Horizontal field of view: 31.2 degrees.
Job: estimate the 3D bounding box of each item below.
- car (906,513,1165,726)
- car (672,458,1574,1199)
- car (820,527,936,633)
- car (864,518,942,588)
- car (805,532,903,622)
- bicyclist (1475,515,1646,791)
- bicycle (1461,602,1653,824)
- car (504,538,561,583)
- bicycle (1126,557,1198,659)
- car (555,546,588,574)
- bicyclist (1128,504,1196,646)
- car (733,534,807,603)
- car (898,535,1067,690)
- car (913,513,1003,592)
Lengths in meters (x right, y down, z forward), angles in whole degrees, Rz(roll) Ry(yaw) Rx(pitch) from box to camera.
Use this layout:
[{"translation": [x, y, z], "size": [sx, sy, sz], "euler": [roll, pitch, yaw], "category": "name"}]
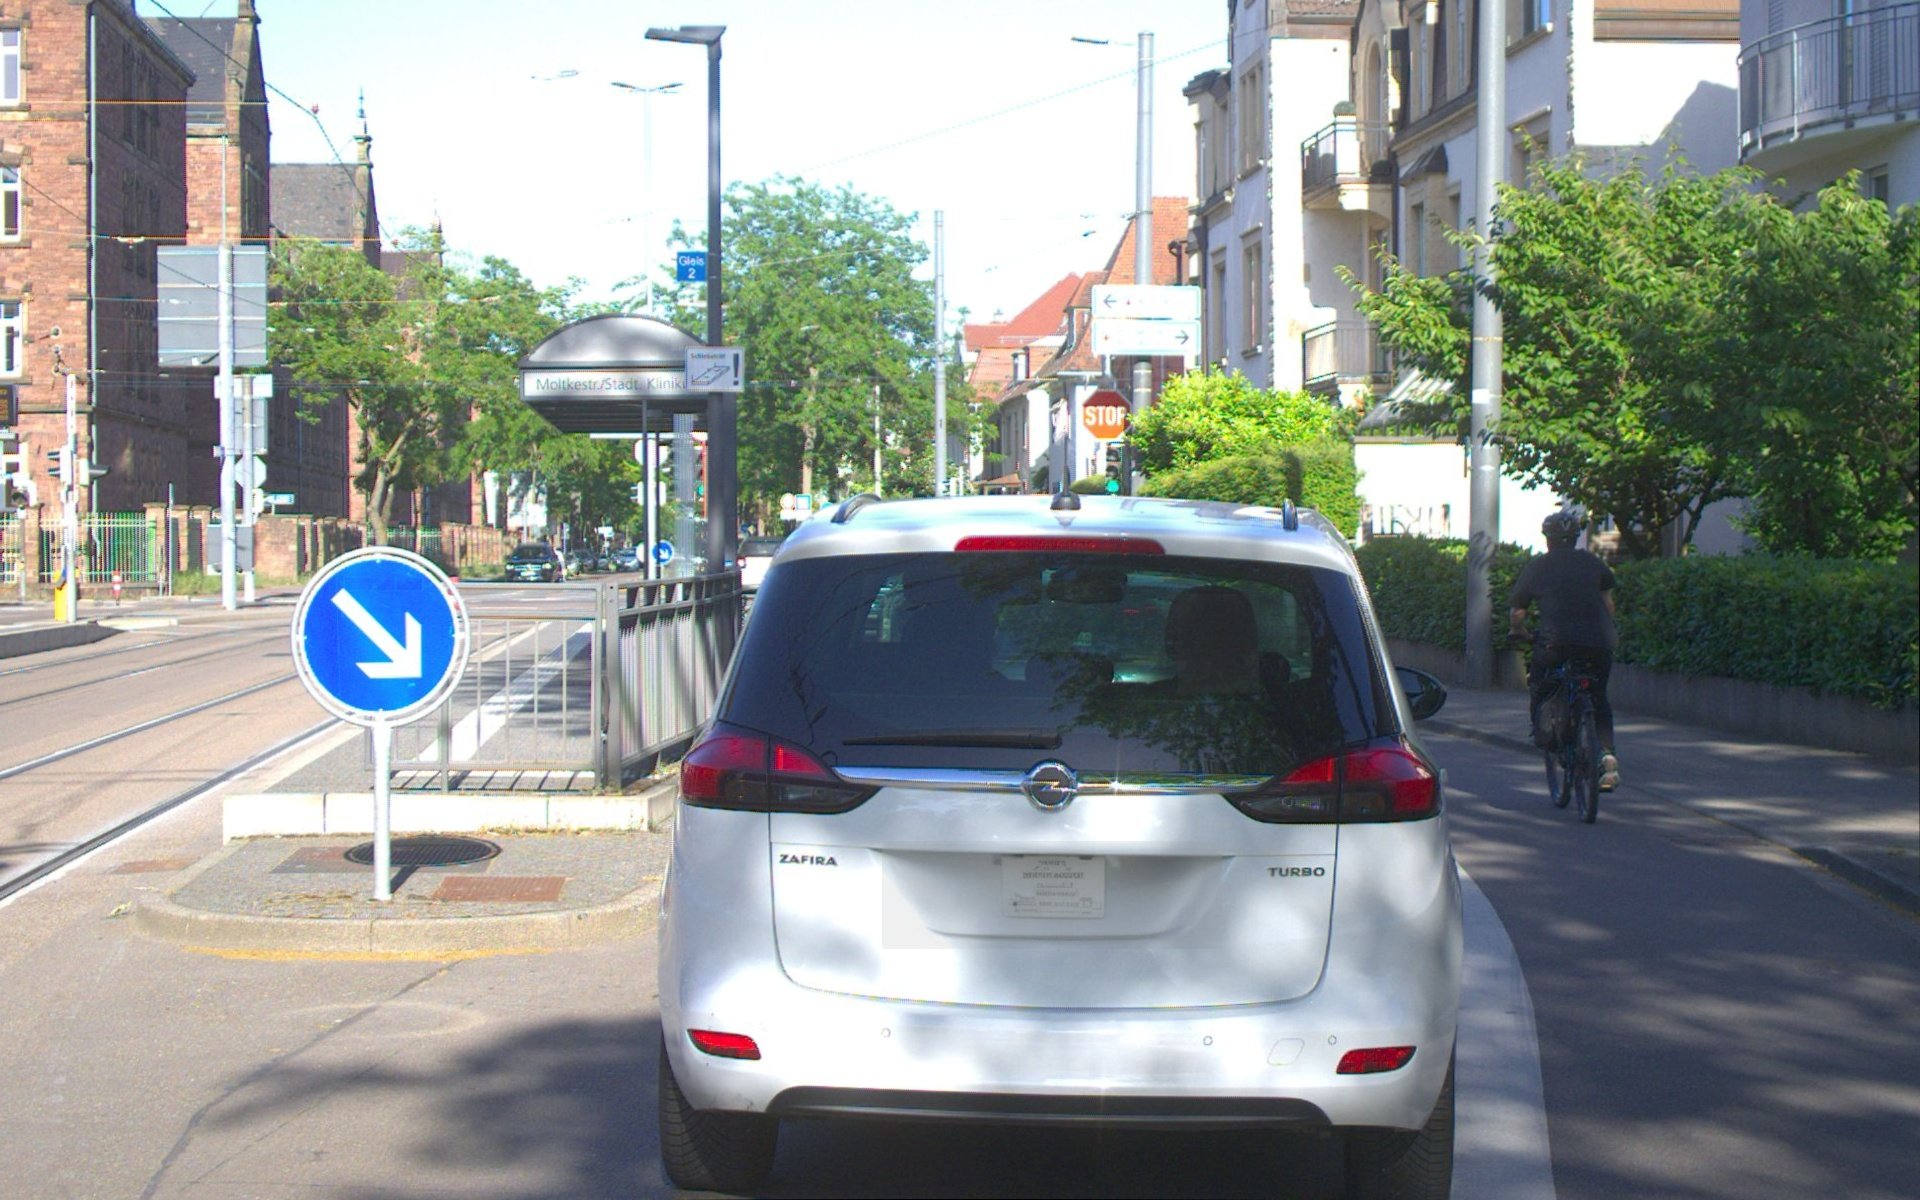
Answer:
[{"translation": [0.554, 0.132, 28.452], "size": [1.775, 1.626, 3.881], "euler": [1, 1, -4], "category": "car"}, {"translation": [0.218, 0.518, 8.977], "size": [1.834, 1.636, 3.919], "euler": [1, 1, -4], "category": "car"}, {"translation": [-1.334, -0.334, 55.118], "size": [1.776, 1.626, 3.881], "euler": [1, 1, -2], "category": "car"}, {"translation": [-1.397, -1.131, 82.818], "size": [1.776, 1.626, 3.881], "euler": [1, 1, -2], "category": "car"}, {"translation": [-1.978, -0.441, 64.362], "size": [1.776, 1.626, 3.881], "euler": [1, 1, -2], "category": "car"}, {"translation": [3.344, 0.286, 19.214], "size": [0.821, 1.496, 0.934], "euler": [1, 0, 4], "category": "bicyclist"}, {"translation": [3.334, 0.604, 19.387], "size": [0.829, 1.150, 2.094], "euler": [1, 1, 4], "category": "bicycle"}, {"translation": [-16.328, -1.534, 131.410], "size": [1.906, 1.671, 4.358], "euler": [0, 1, -4], "category": "car"}, {"translation": [2.354, 0.083, 40.180], "size": [0.685, 1.153, 1.619], "euler": [1, 1, -2], "category": "bicycle"}, {"translation": [-23.433, -2.414, 207.496], "size": [1.906, 1.671, 4.001], "euler": [0, 1, -5], "category": "car"}, {"translation": [2.358, -0.291, 40.139], "size": [0.685, 1.629, 1.015], "euler": [1, 0, -2], "category": "bicyclist"}, {"translation": [-4.773, -0.792, 86.778], "size": [1.776, 1.687, 3.881], "euler": [1, 1, -2], "category": "car"}, {"translation": [0.219, 0.115, 38.349], "size": [1.776, 1.626, 3.881], "euler": [1, 1, -1], "category": "car"}, {"translation": [-0.073, -1.019, 73.740], "size": [1.776, 1.626, 3.881], "euler": [1, 1, -2], "category": "car"}]
